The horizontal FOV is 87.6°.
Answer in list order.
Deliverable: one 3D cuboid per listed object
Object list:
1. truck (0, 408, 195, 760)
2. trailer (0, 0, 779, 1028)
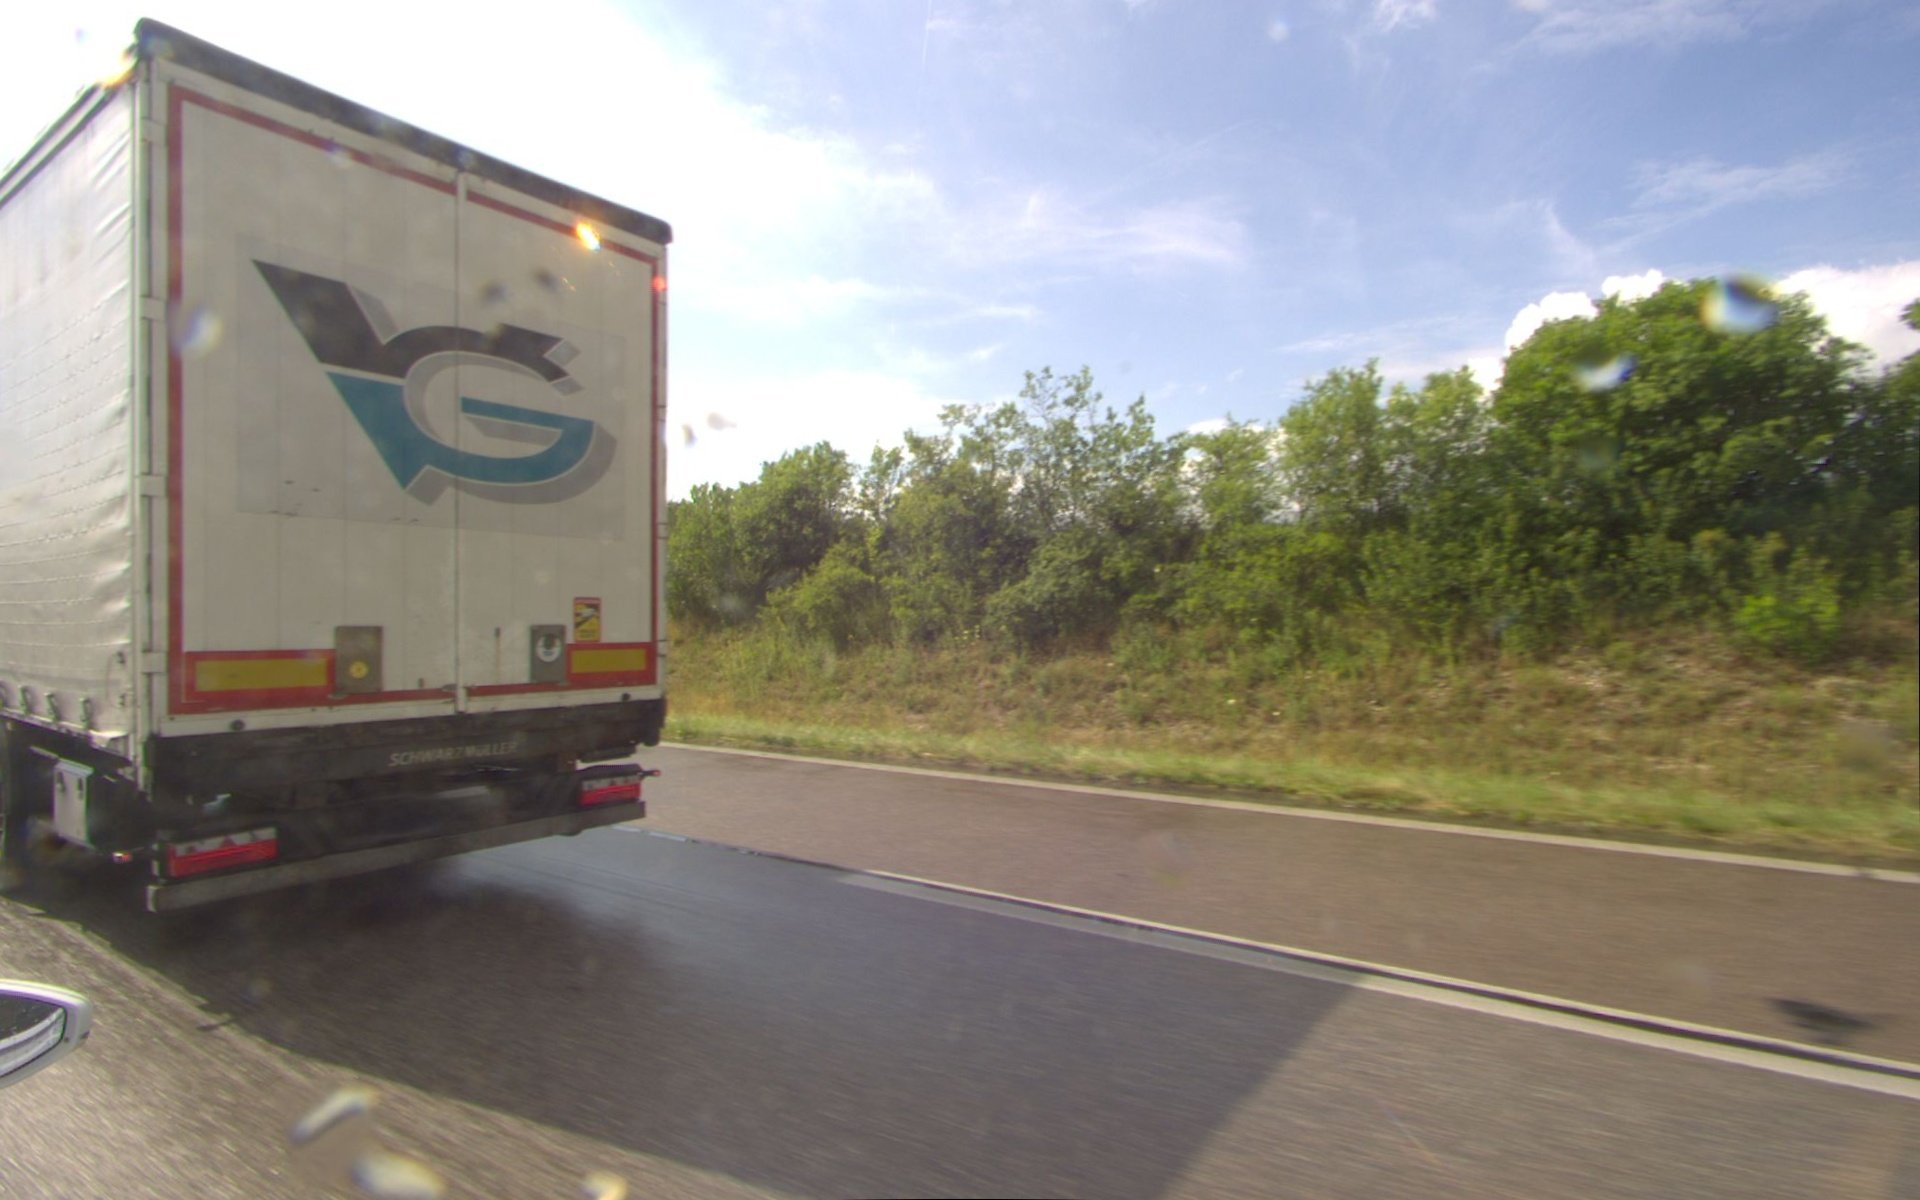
[{"bbox_3d":[-13.211,-0.114,13.199,6.313,3.940,3.275,-1,-2,36],"label":"truck"},{"bbox_3d":[-7.730,-0.221,9.151,13.944,3.948,3.275,-1,-2,36],"label":"trailer"}]
